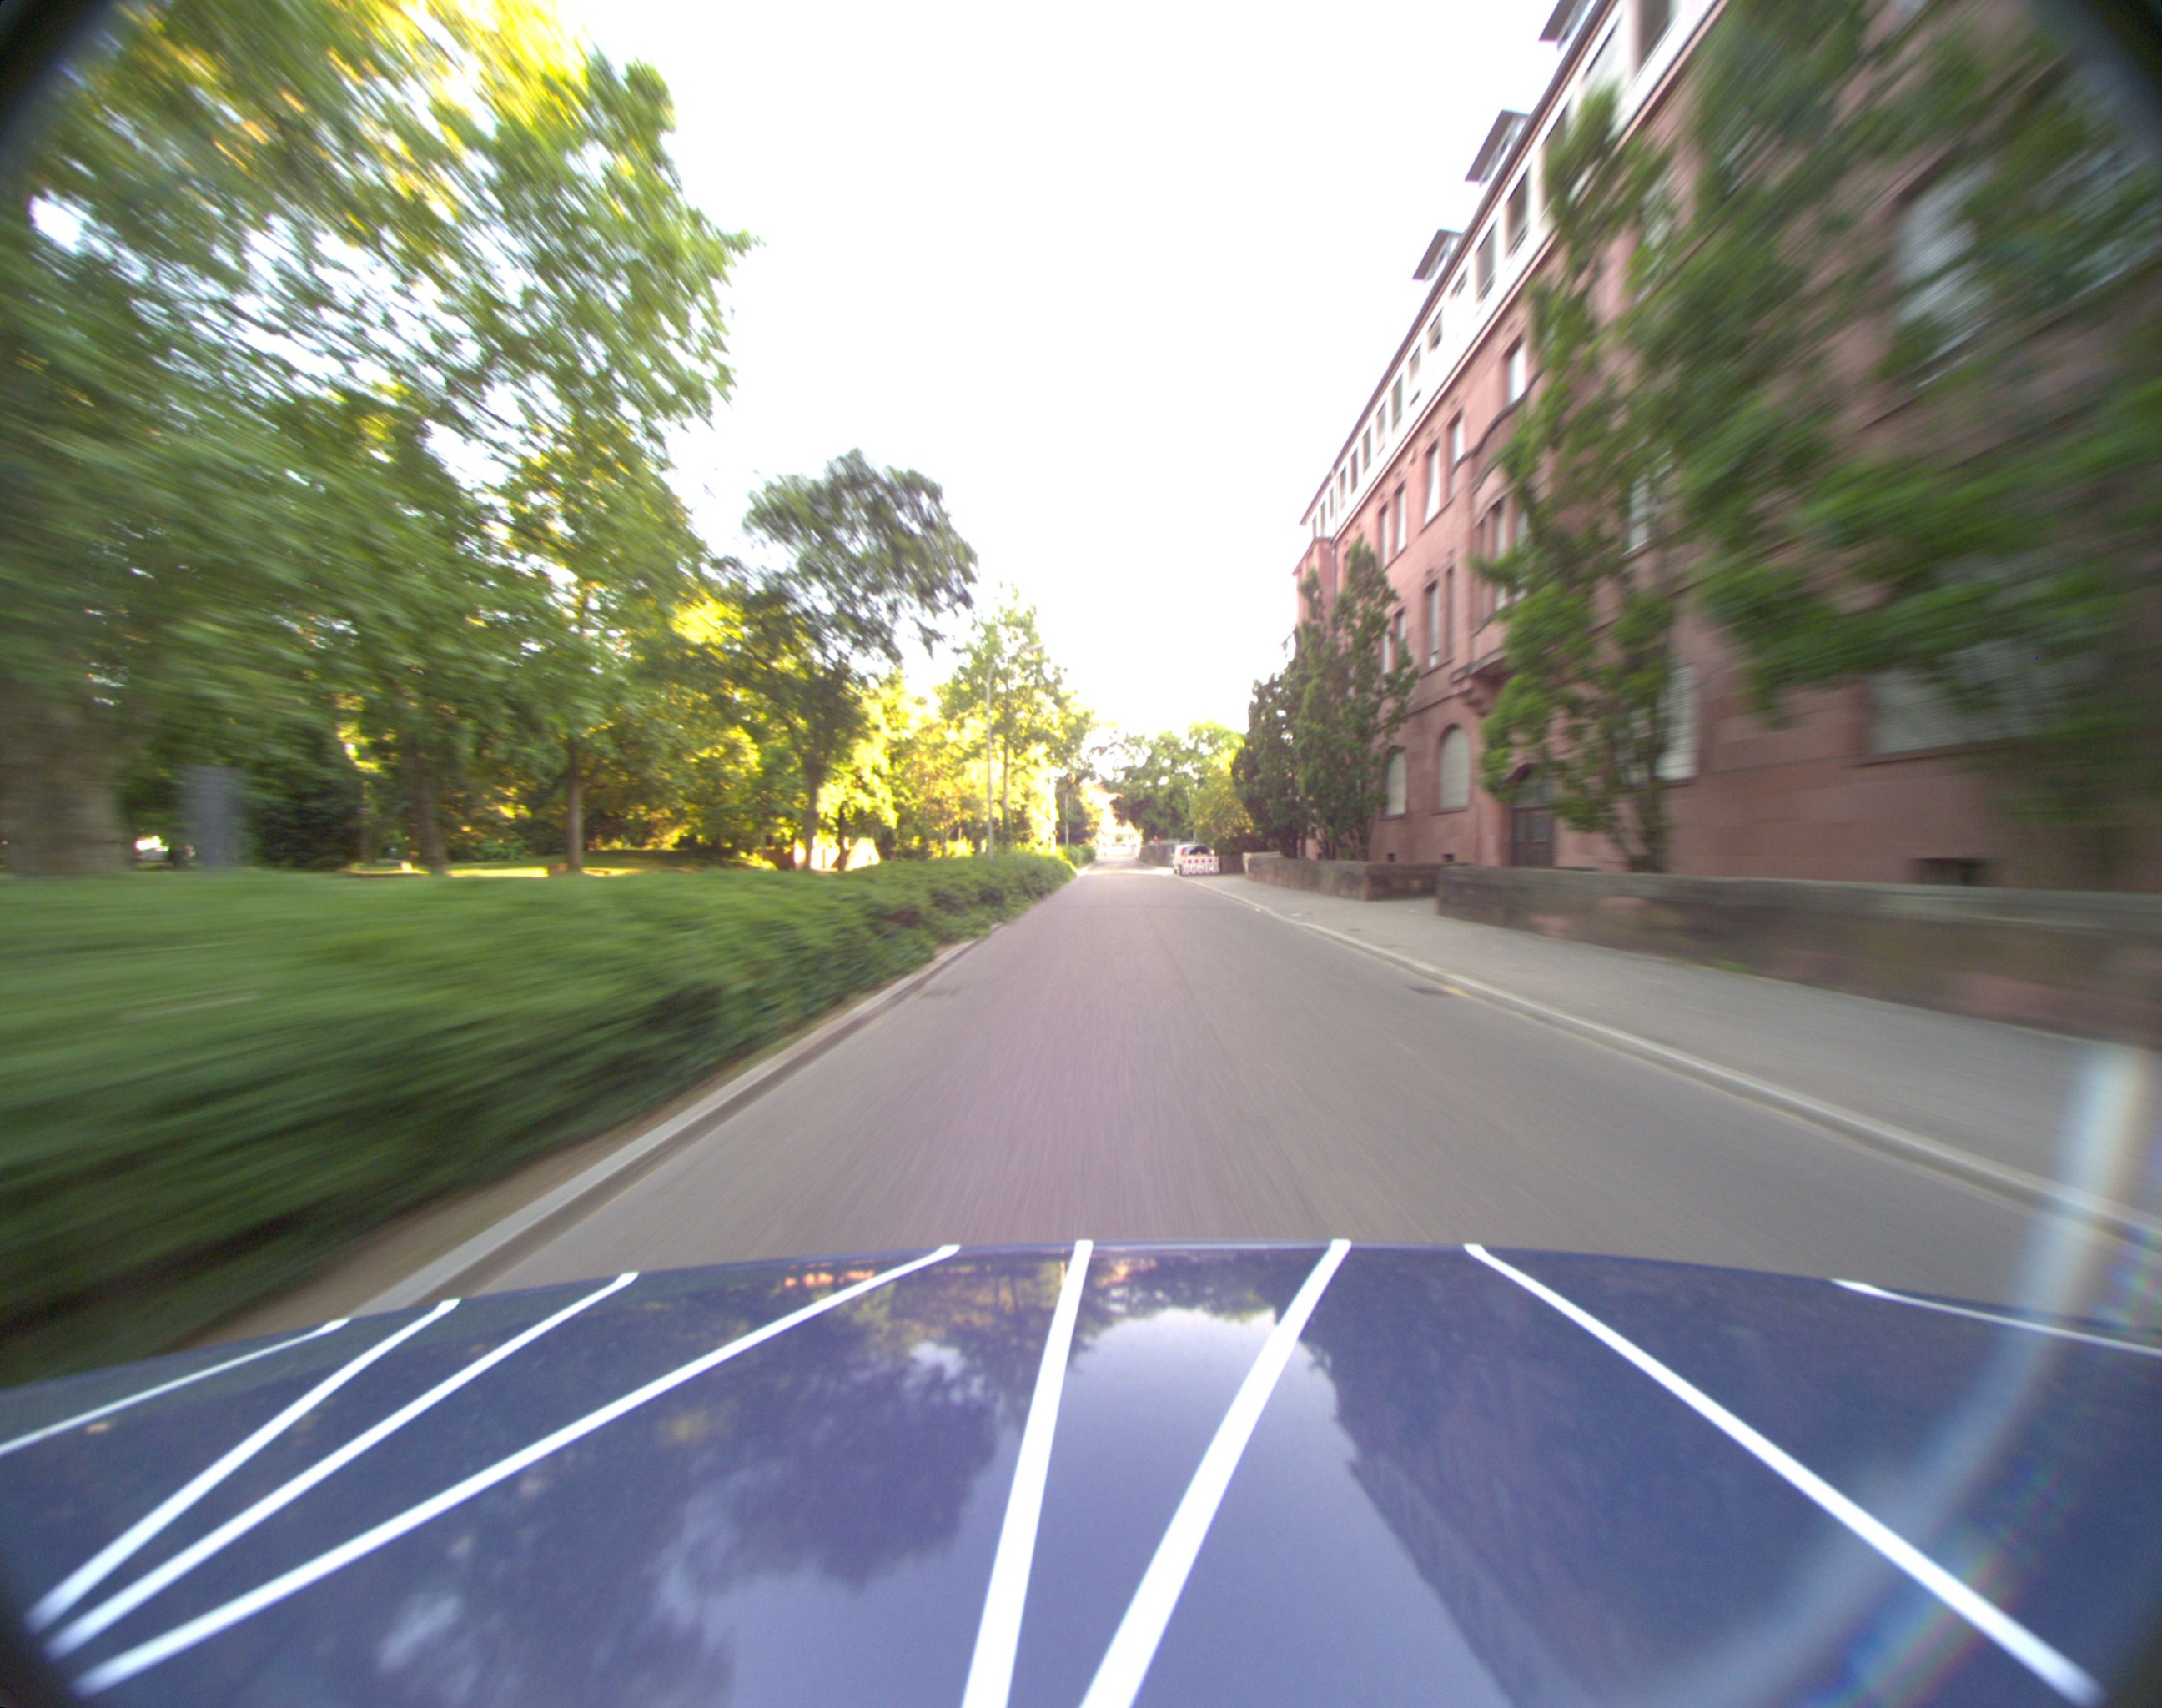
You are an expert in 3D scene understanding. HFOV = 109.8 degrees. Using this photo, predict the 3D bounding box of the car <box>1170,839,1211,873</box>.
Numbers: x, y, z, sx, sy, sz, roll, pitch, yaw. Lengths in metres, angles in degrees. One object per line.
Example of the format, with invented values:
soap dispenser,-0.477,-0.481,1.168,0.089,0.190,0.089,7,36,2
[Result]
car,7.042,0.108,49.360,1.887,2.002,5.225,-3,1,1
